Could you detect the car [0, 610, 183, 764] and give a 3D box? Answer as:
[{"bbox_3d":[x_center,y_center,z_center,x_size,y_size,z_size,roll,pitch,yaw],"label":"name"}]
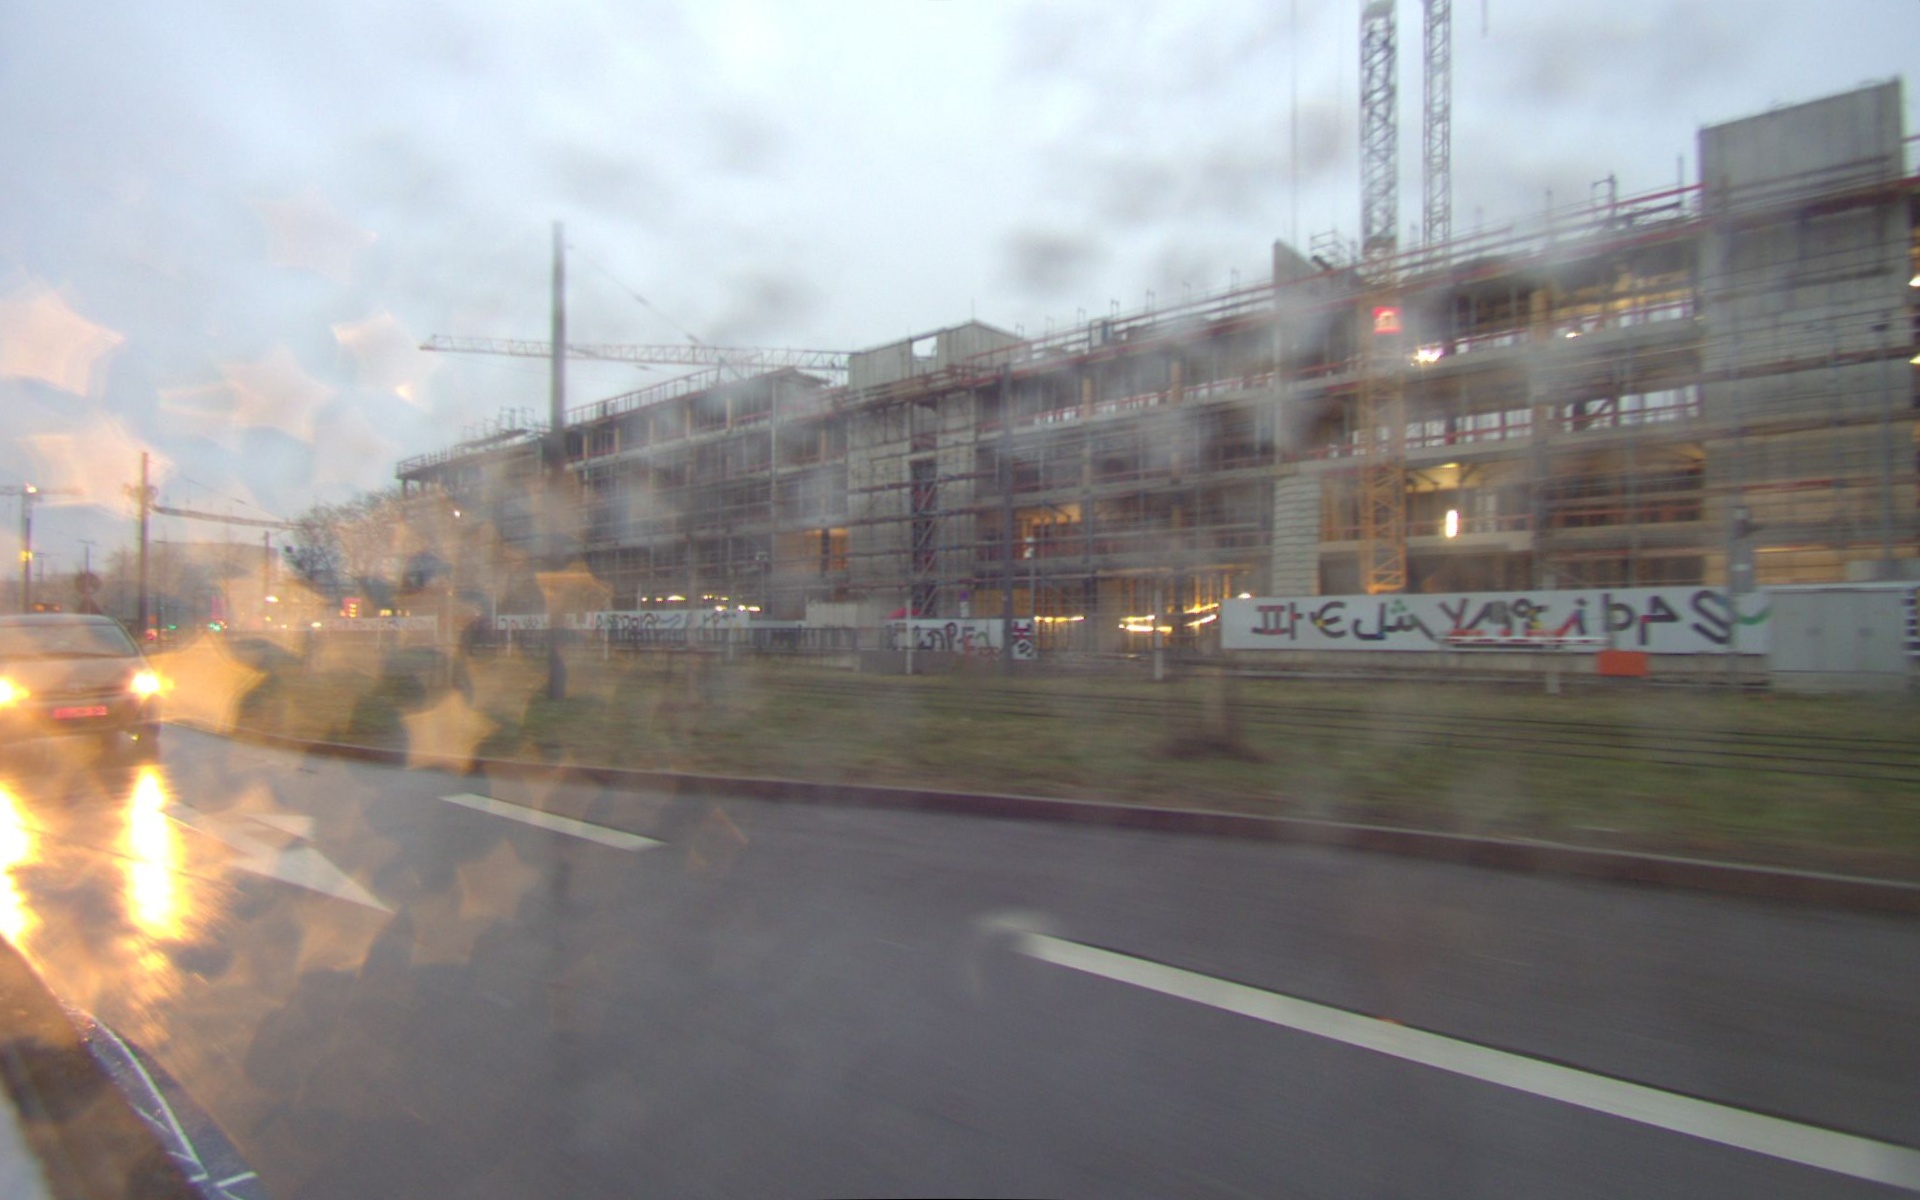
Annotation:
[{"bbox_3d":[-11.466,0.999,12.835,4.133,1.659,1.792,-2,-2,41],"label":"car"}]
